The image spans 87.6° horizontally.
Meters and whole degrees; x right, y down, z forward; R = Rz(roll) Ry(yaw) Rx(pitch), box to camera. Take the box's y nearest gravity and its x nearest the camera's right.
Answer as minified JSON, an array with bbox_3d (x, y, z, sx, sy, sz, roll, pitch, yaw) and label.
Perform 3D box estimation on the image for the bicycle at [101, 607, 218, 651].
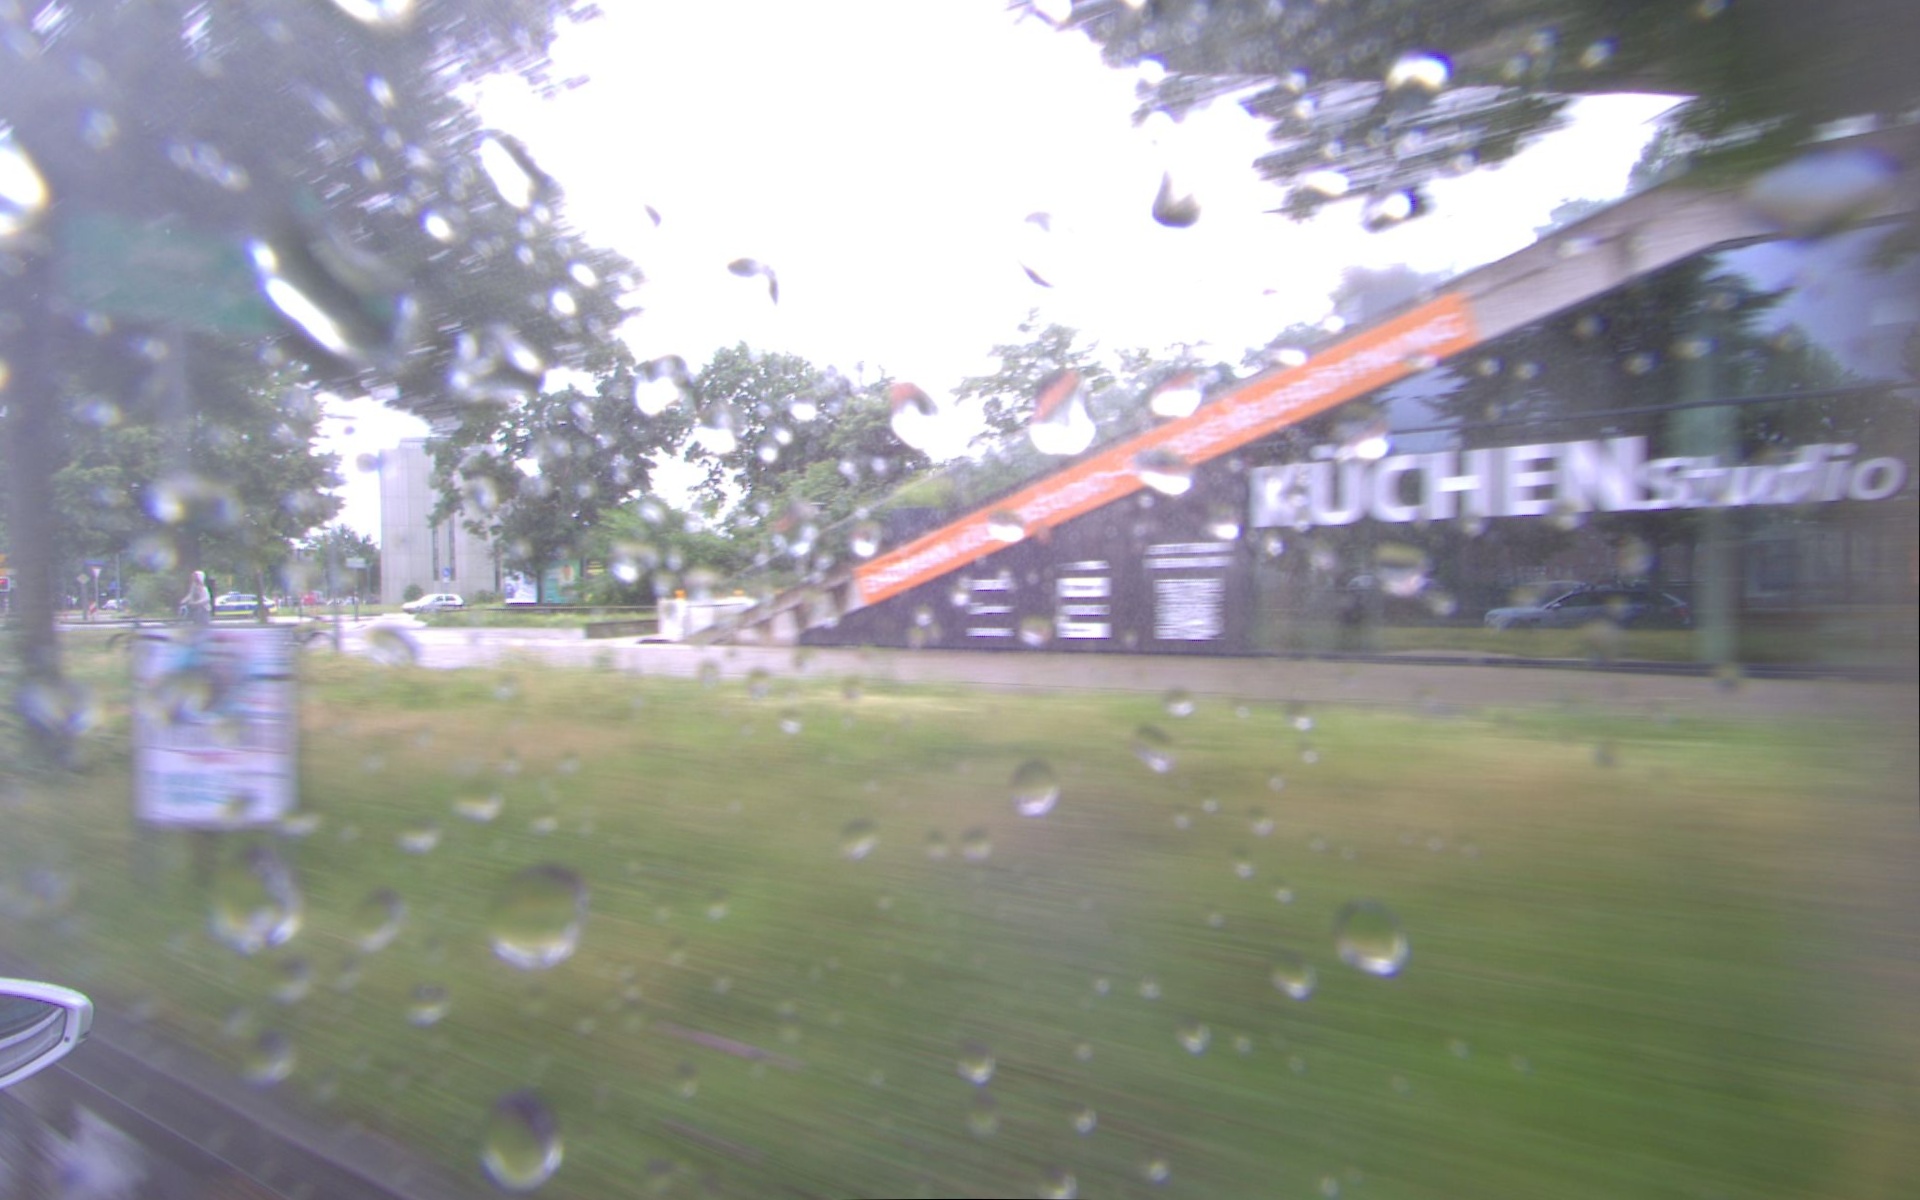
[{"bbox_3d":[-14.916,0.547,18.684,1.823,0.797,0.380,0,-1,-2],"label":"bicycle"}]

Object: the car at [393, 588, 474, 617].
[{"bbox_3d":[-37.627,0.222,71.710,1.974,1.875,4.746,-1,-2,37],"label":"car"}]

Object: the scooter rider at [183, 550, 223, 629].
[{"bbox_3d":[-16.975,-0.235,22.464,0.427,1.732,0.531,0,2,26],"label":"scooter rider"}]

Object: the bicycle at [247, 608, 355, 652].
[{"bbox_3d":[-12.018,0.544,18.263,1.972,0.797,0.454,0,-1,15],"label":"bicycle"}]

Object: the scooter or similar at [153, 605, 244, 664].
[{"bbox_3d":[-17.013,0.768,22.421,0.440,1.275,1.586,0,-2,26],"label":"scooter or similar"}]

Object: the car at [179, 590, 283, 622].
[{"bbox_3d":[-44.089,0.329,60.622,1.976,1.876,4.739,1,1,40],"label":"car"}]
